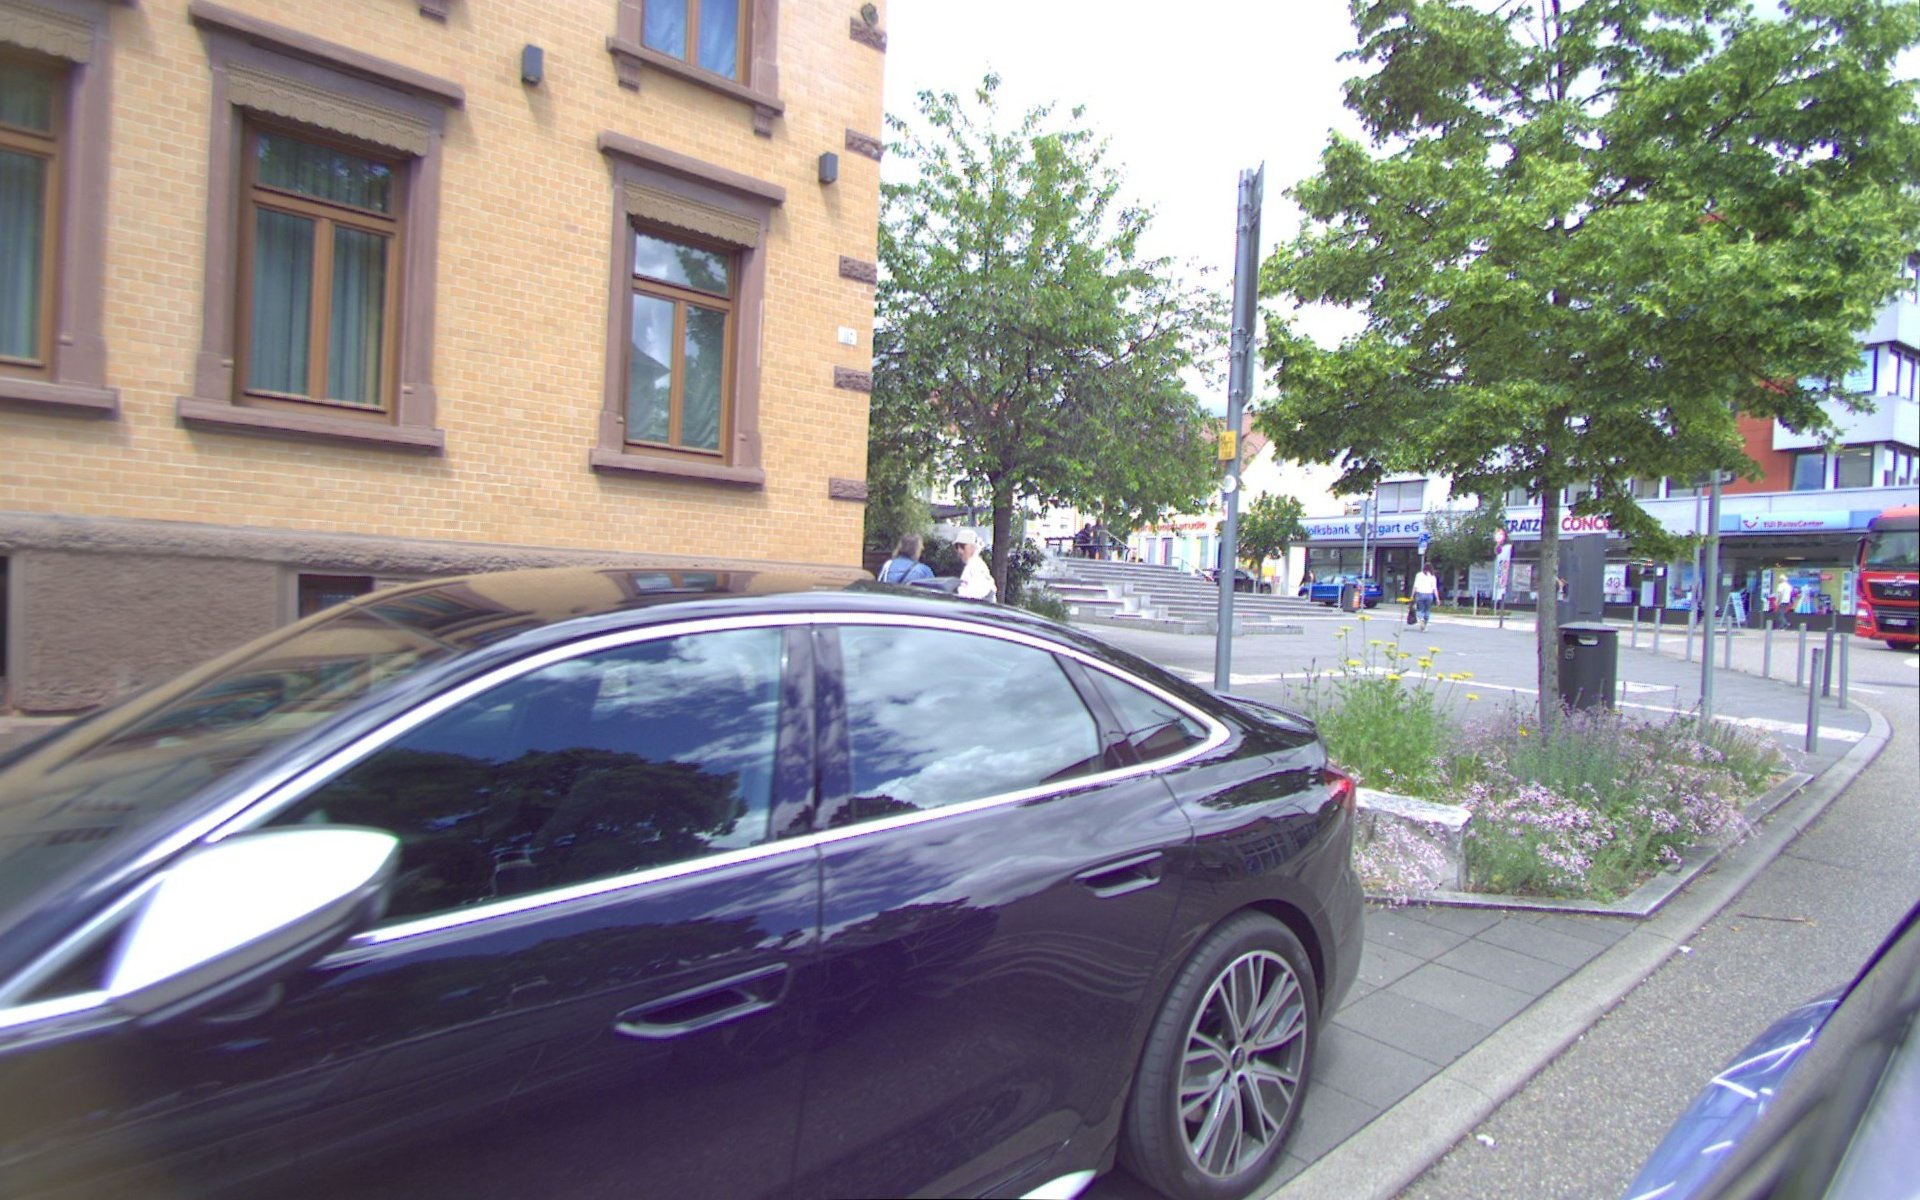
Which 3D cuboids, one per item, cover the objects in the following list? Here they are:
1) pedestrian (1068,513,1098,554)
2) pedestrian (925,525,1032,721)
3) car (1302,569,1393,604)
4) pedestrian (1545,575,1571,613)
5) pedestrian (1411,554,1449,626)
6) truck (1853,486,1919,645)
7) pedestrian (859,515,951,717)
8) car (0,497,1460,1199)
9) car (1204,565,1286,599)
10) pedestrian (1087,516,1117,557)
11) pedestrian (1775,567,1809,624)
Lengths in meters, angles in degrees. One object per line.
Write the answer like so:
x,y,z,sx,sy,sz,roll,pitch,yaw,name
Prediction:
4.153,-2.231,34.221,0.749,1.342,0.695,0,1,-34,pedestrian
0.159,0.188,9.133,0.725,1.679,0.699,0,1,-28,pedestrian
18.588,-0.659,48.658,1.782,1.582,3.836,0,1,-29,car
25.690,-0.278,43.473,0.751,1.603,0.686,0,1,-30,pedestrian
11.631,-0.250,25.061,0.756,1.753,0.749,0,1,19,pedestrian
28.717,-0.837,25.485,10.631,3.891,2.686,0,1,-5,truck
-0.489,0.126,8.753,0.661,1.660,0.742,0,1,-14,pedestrian
-1.002,0.579,2.211,4.651,1.431,1.998,0,2,-39,car
18.219,-1.150,64.699,4.934,2.038,2.414,1,2,-34,car
4.884,-2.173,34.771,0.749,1.342,0.695,0,1,-34,pedestrian
29.107,-0.164,35.397,0.751,1.937,0.686,0,1,-30,pedestrian
